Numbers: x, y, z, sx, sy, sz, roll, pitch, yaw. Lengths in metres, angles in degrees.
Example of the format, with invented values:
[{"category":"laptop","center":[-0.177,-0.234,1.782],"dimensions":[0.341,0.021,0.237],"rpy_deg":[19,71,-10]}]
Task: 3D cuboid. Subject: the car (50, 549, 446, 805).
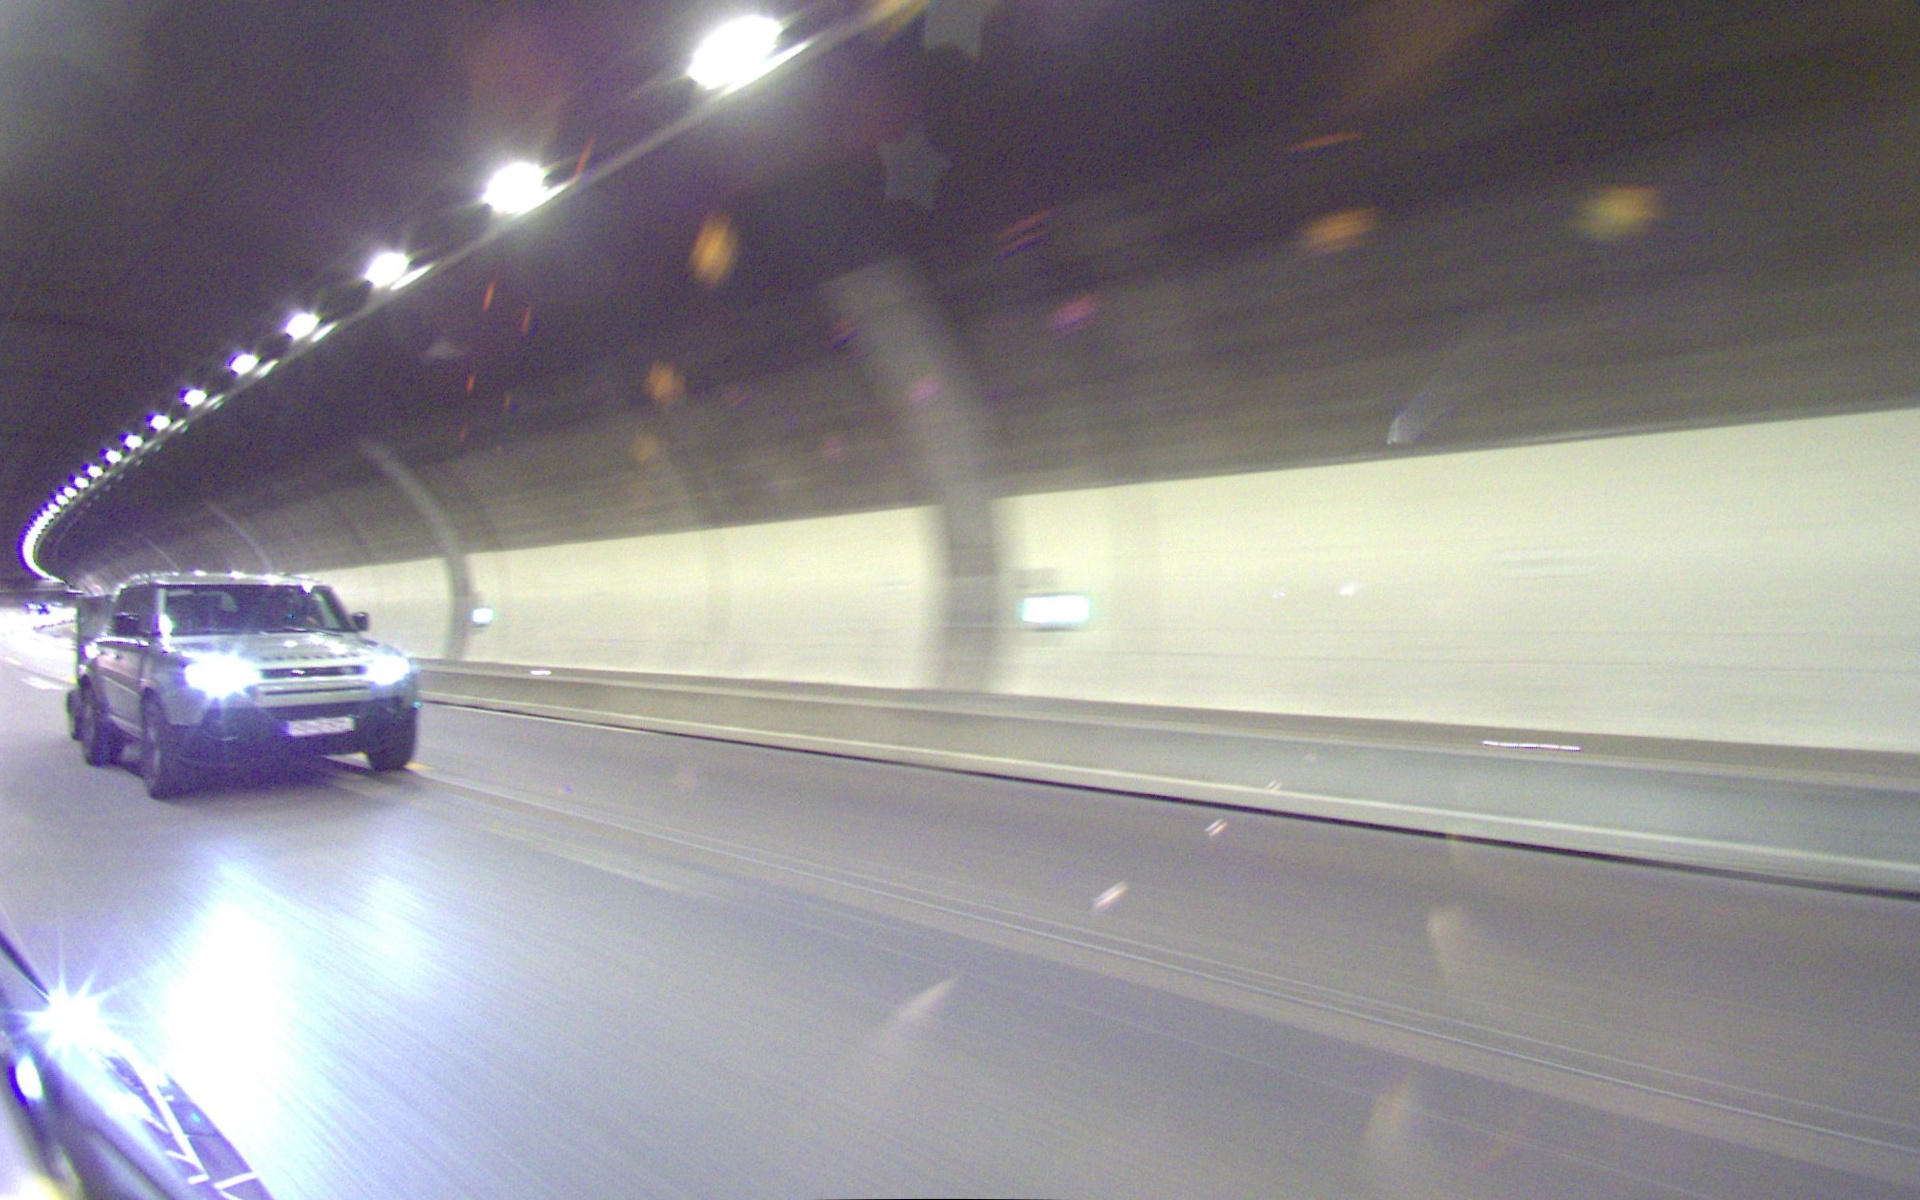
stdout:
[{"category":"car","center":[-7.319,0.632,10.118],"dimensions":[5.450,1.909,1.973],"rpy_deg":[-1,-2,41]}]
